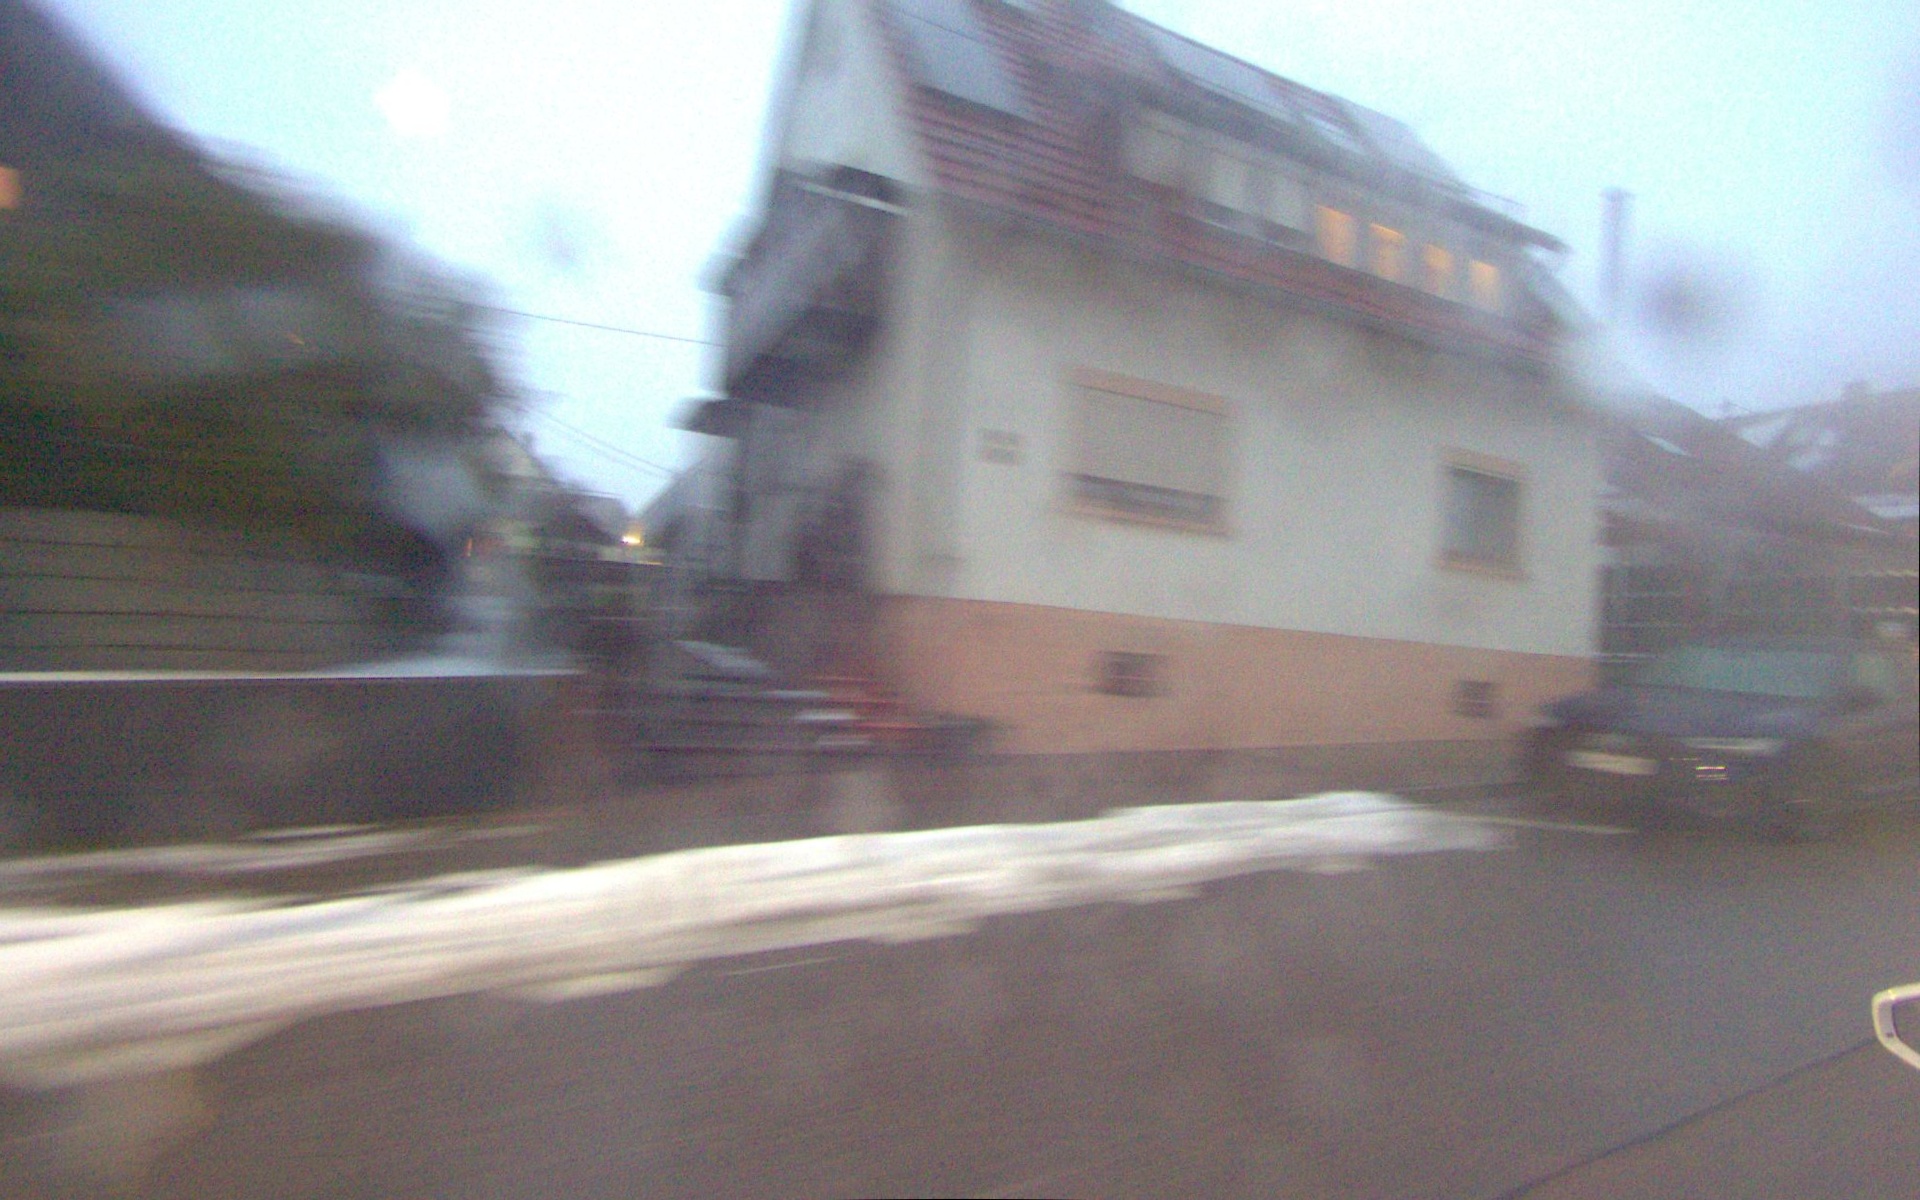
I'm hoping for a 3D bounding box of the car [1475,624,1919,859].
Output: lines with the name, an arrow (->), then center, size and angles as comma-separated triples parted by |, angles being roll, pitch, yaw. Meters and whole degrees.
car -> 6.996, 1.022, 8.539 | 5.322, 1.445, 1.870 | 2, 0, -27
